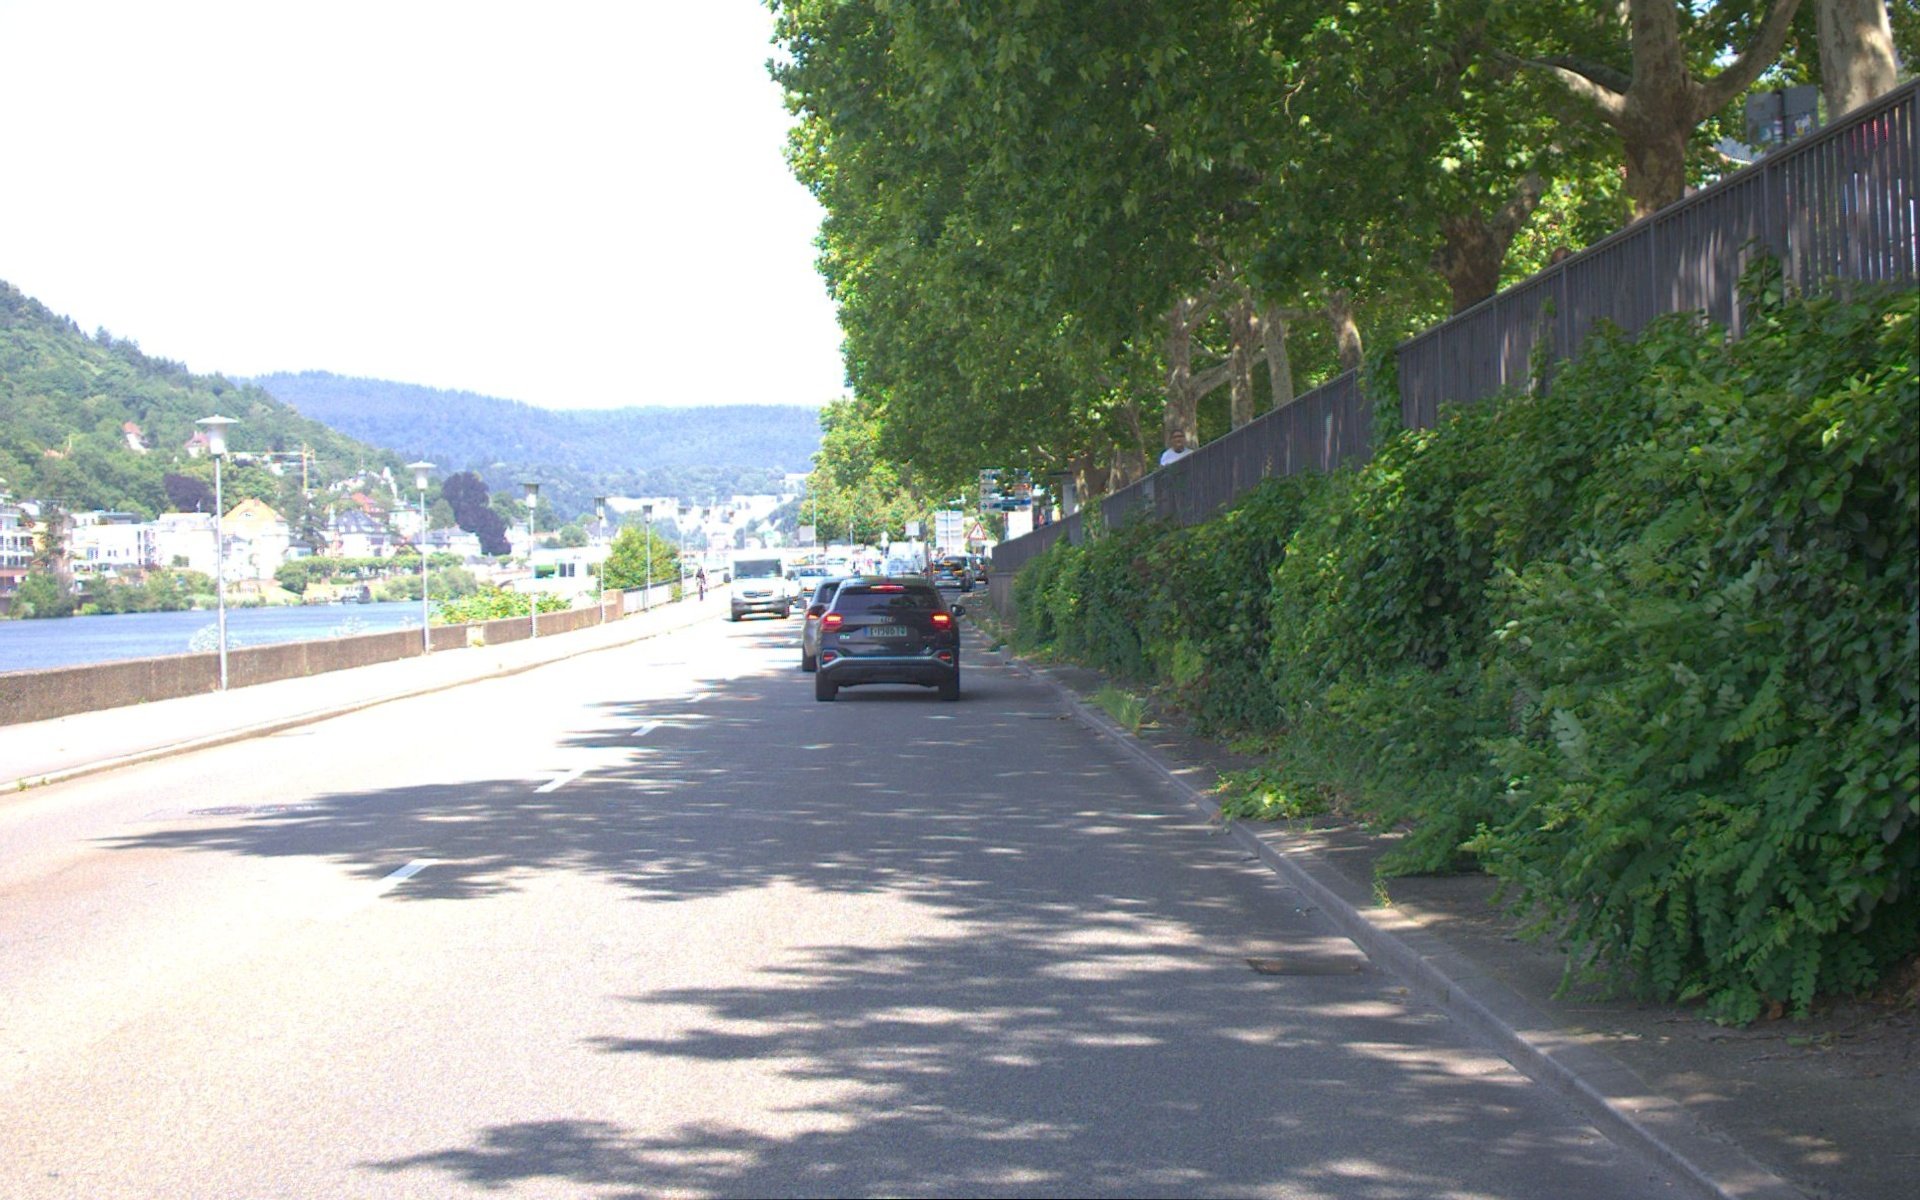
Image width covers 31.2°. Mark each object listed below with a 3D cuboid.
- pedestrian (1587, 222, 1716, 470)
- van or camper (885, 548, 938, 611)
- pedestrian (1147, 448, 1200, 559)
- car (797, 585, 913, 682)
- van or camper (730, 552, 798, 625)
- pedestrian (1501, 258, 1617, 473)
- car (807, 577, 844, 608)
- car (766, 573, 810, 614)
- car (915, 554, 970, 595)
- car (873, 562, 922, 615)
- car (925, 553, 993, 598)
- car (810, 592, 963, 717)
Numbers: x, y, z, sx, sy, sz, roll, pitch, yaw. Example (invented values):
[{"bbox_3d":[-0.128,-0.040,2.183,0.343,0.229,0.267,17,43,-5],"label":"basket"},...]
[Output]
[{"bbox_3d":[4.699,-1.720,23.395,0.646,1.634,0.627,-1,0,-9],"label":"pedestrian"},{"bbox_3d":[-2.233,-0.939,160.083,2.310,2.837,4.245,-2,0,0],"label":"van or camper"},{"bbox_3d":[3.096,-1.399,49.903,0.664,1.586,0.651,-2,0,-1],"label":"pedestrian"},{"bbox_3d":[-1.716,0.519,56.136,1.828,1.506,4.000,0,0,-2],"label":"car"},{"bbox_3d":[-6.832,-0.407,120.155,2.077,2.390,5.385,-2,0,-1],"label":"van or camper"},{"bbox_3d":[4.059,-1.584,23.312,0.584,1.414,0.589,-1,0,-9],"label":"pedestrian"},{"bbox_3d":[-6.530,-0.379,167.134,1.731,1.437,4.045,-2,0,-2],"label":"car"},{"bbox_3d":[-7.307,-0.280,146.643,1.731,1.644,4.177,-3,0,-2],"label":"car"},{"bbox_3d":[-0.951,-1.366,184.360,2.661,2.007,5.825,-4,1,-2],"label":"car"},{"bbox_3d":[-2.686,-0.499,146.995,1.993,2.162,4.000,-2,0,-2],"label":"car"},{"bbox_3d":[-0.065,-1.244,172.729,3.098,2.007,5.825,-4,1,-2],"label":"car"},{"bbox_3d":[-0.946,0.647,43.345,1.828,1.481,4.000,0,0,-2],"label":"car"}]
